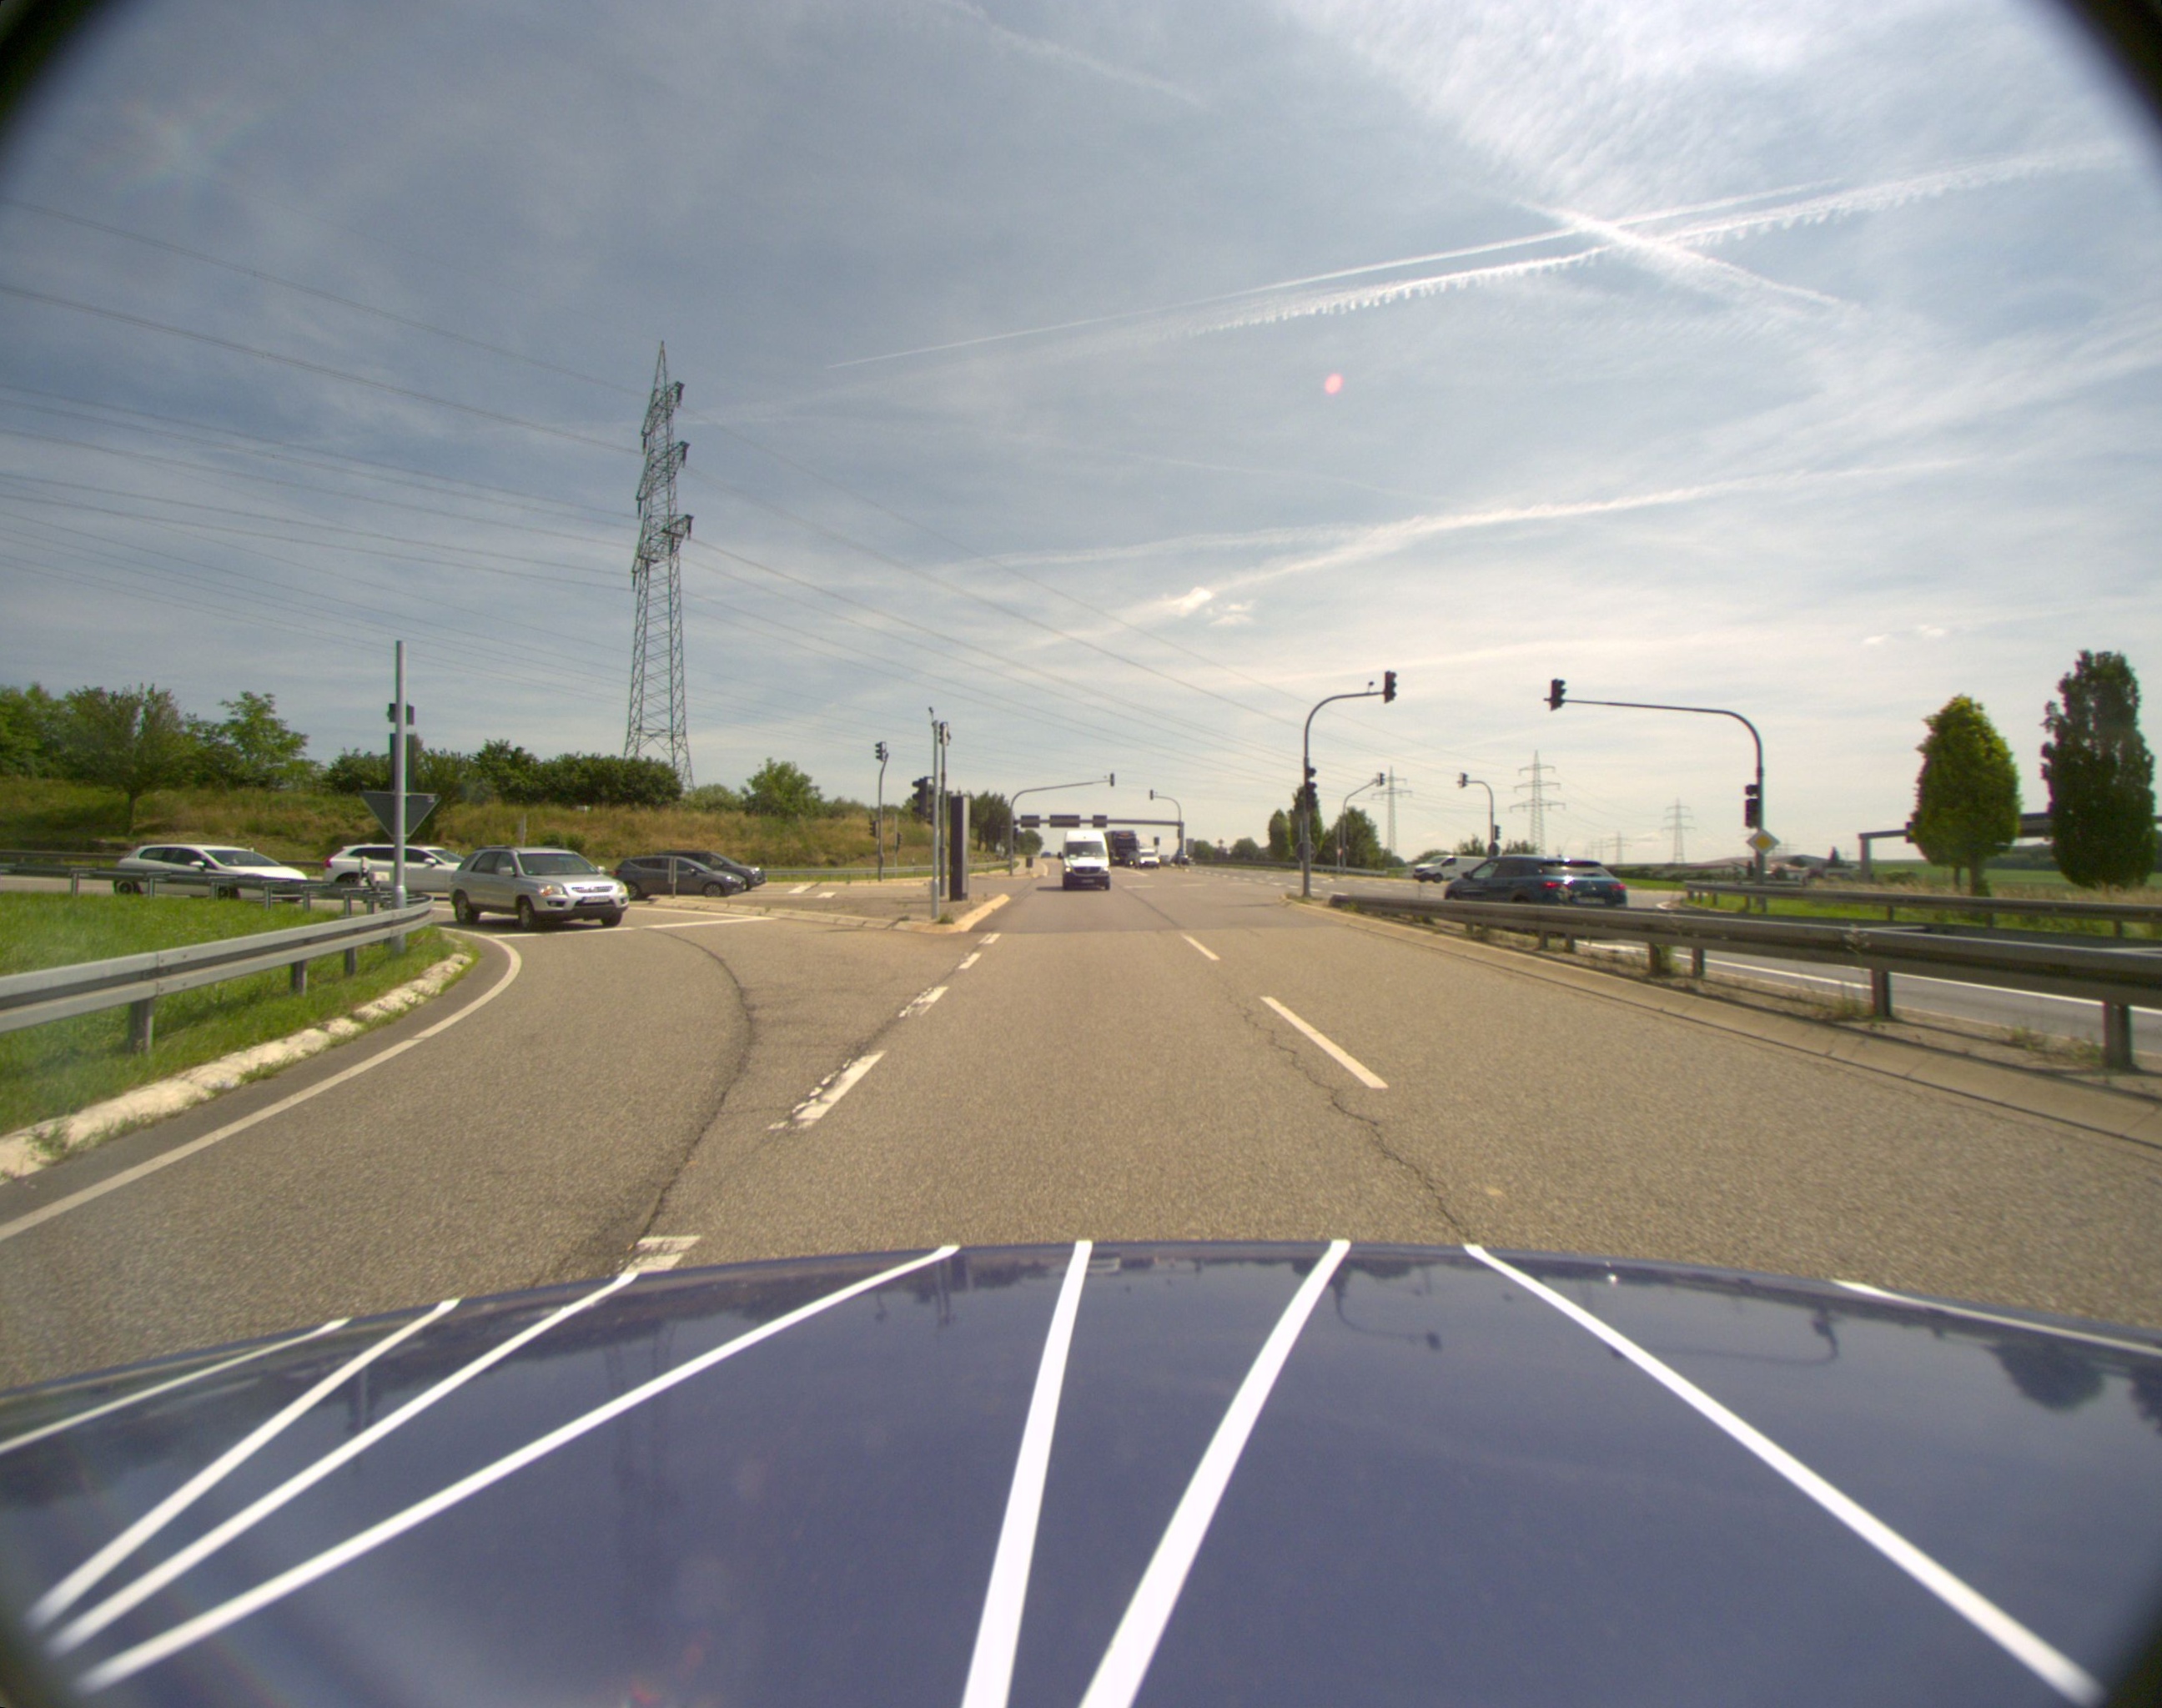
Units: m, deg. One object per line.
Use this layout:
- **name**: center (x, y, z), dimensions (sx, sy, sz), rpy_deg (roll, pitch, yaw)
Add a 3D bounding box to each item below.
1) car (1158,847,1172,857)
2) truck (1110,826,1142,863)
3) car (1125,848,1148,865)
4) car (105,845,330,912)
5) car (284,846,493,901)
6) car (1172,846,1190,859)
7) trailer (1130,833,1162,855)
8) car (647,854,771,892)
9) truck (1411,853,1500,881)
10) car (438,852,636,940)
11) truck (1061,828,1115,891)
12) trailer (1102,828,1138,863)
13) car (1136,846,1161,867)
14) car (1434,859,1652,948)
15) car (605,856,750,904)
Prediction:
- **car**: center (12.701, -0.345, 115.255), dimensions (1.648, 1.488, 3.800), rpy_deg (1, 1, 0)
- **truck**: center (4.979, -1.032, 85.551), dimensions (2.791, 3.990, 5.968), rpy_deg (-1, 1, -3)
- **car**: center (5.612, 0.191, 77.370), dimensions (1.861, 1.648, 4.347), rpy_deg (-1, 1, -2)
- **car**: center (-22.546, 0.602, 19.943), dimensions (3.996, 1.591, 1.782), rpy_deg (1, 1, 3)
- **car**: center (-20.892, 0.547, 23.129), dimensions (4.374, 1.583, 1.778), rpy_deg (0, 1, -13)
- **car**: center (13.151, -0.236, 99.821), dimensions (1.648, 1.614, 4.326), rpy_deg (2, 1, -1)
- **trailer**: center (11.427, -1.824, 135.523), dimensions (2.647, 3.742, 19.787), rpy_deg (0, 1, -4)
- **car**: center (-15.302, 0.779, 31.484), dimensions (4.375, 1.502, 1.713), rpy_deg (1, 1, -16)
- **truck**: center (25.574, 0.904, 51.965), dimensions (5.283, 1.747, 1.998), rpy_deg (1, 1, -10)
- **car**: center (-11.696, 0.794, 16.282), dimensions (4.360, 1.645, 1.840), rpy_deg (0, 1, 31)
- **truck**: center (0.215, 0.214, 33.286), dimensions (1.999, 2.518, 5.103), rpy_deg (-1, 1, -3)
- **trailer**: center (4.572, -1.030, 92.268), dimensions (2.791, 3.891, 13.780), rpy_deg (-1, 1, -3)
- **car**: center (6.094, 0.210, 69.221), dimensions (1.772, 1.788, 4.751), rpy_deg (-1, 1, -1)
- **car**: center (8.926, 0.868, 15.177), dimensions (1.760, 1.460, 4.195), rpy_deg (0, 0, -1)
- **car**: center (-13.398, 0.823, 25.457), dimensions (4.003, 1.502, 1.713), rpy_deg (0, 1, -17)
